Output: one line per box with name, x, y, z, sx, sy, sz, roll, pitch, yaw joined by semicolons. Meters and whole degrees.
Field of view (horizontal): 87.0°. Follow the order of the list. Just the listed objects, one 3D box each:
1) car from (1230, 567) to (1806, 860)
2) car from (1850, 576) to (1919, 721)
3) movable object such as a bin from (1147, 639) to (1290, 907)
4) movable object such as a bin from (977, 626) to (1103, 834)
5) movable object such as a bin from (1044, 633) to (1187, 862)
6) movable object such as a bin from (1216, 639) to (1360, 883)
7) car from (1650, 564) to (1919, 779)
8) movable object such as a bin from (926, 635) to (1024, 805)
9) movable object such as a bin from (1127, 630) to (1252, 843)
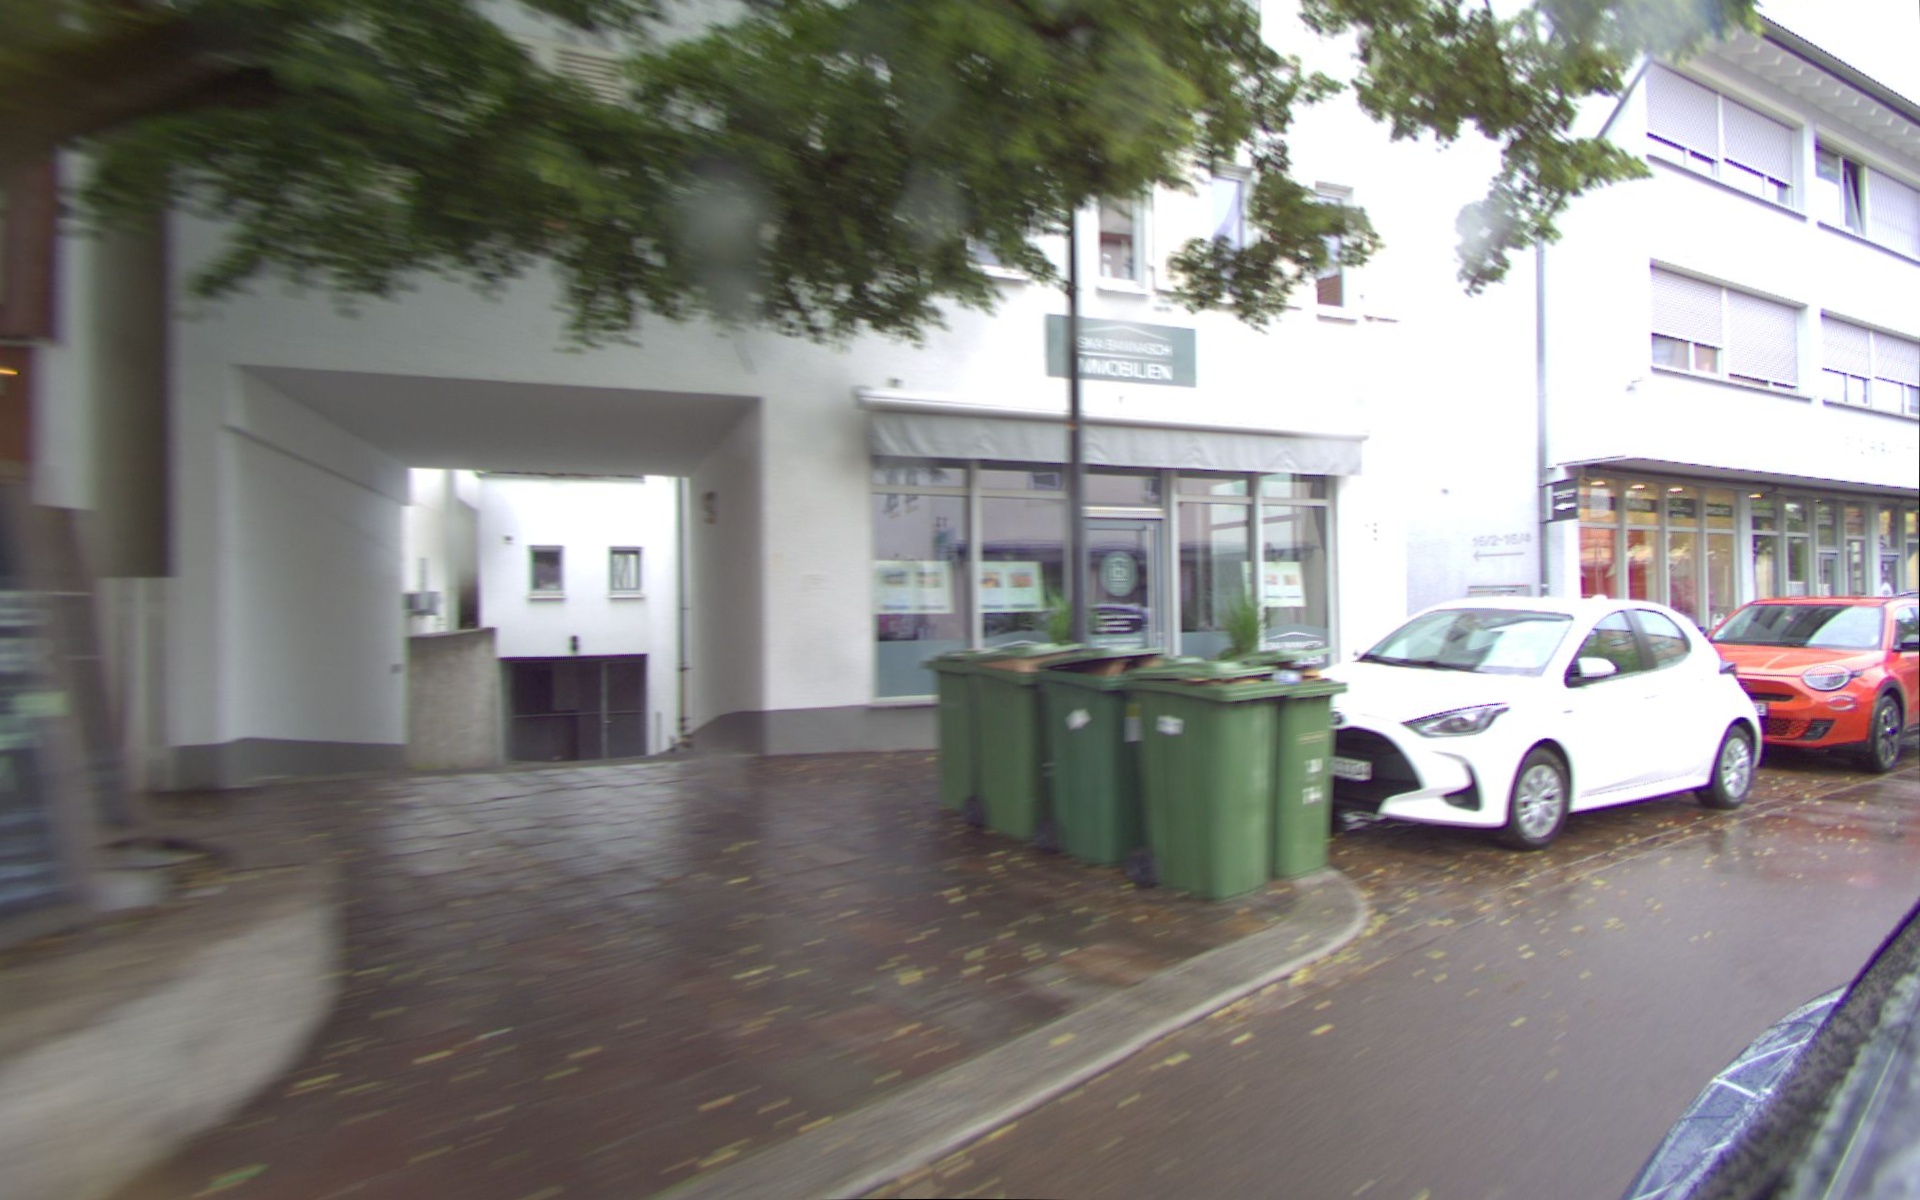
car;4.109;0.629;7.237;4.316;1.559;1.697;1;-1;-31
car;13.162;0.537;12.923;4.196;1.711;1.696;-1;0;-34
movable object such as a bin;1.257;0.798;4.934;0.480;1.183;0.478;-1;0;-39
movable object such as a bin;0.486;0.755;6.171;0.570;1.164;0.504;-1;0;-39
movable object such as a bin;0.870;0.782;5.681;0.575;1.164;0.545;-1;0;-39
movable object such as a bin;1.728;0.806;5.350;0.492;1.164;0.535;-1;0;-39
car;8.582;0.535;9.792;3.880;1.711;1.697;-1;0;-31
movable object such as a bin;0.100;0.778;6.794;0.492;1.060;0.431;-1;0;-39
movable object such as a bin;1.364;0.773;6.030;0.492;1.164;0.531;-1;0;-39
